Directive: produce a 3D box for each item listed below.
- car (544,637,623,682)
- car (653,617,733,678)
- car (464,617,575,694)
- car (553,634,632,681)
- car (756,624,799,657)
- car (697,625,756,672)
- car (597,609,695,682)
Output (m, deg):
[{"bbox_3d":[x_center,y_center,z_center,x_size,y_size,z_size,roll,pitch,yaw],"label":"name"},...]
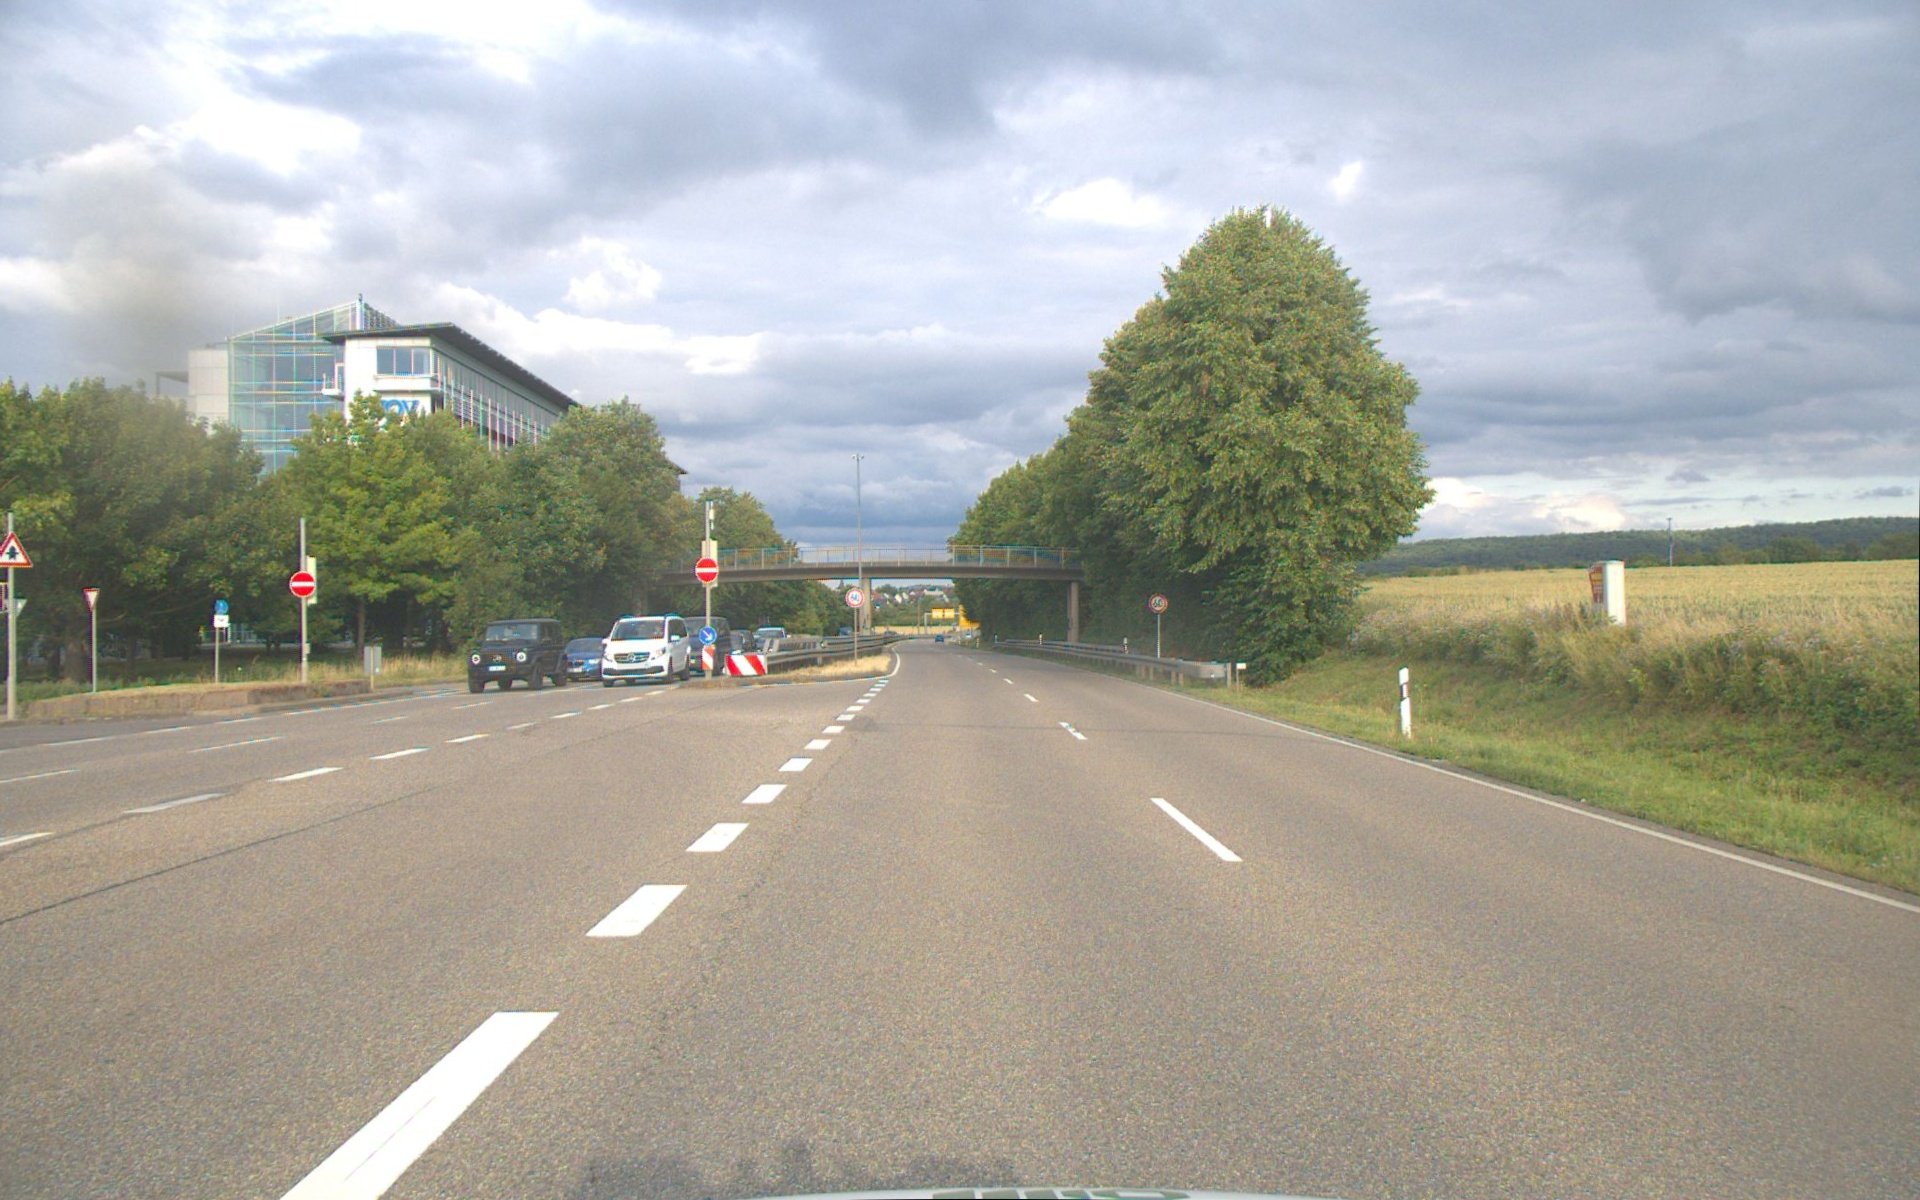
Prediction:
[{"bbox_3d":[-12.273,1.915,54.188,1.687,1.261,3.999,-4,-1,-1],"label":"car"},{"bbox_3d":[-8.866,1.559,55.235,1.859,1.950,5.049,0,-1,0],"label":"car"},{"bbox_3d":[-12.544,1.541,47.408,1.895,2.025,5.089,-2,-1,-1],"label":"car"},{"bbox_3d":[-12.022,1.854,54.275,1.614,1.412,4.185,-2,-1,0],"label":"car"},{"bbox_3d":[-9.190,2.011,83.437,1.786,1.612,4.788,0,-1,-2],"label":"car"},{"bbox_3d":[-8.937,1.826,63.494,1.678,1.617,4.552,-3,0,-2],"label":"car"},{"bbox_3d":[-8.967,1.291,47.684,1.895,1.905,5.345,-2,-1,-1],"label":"car"}]
